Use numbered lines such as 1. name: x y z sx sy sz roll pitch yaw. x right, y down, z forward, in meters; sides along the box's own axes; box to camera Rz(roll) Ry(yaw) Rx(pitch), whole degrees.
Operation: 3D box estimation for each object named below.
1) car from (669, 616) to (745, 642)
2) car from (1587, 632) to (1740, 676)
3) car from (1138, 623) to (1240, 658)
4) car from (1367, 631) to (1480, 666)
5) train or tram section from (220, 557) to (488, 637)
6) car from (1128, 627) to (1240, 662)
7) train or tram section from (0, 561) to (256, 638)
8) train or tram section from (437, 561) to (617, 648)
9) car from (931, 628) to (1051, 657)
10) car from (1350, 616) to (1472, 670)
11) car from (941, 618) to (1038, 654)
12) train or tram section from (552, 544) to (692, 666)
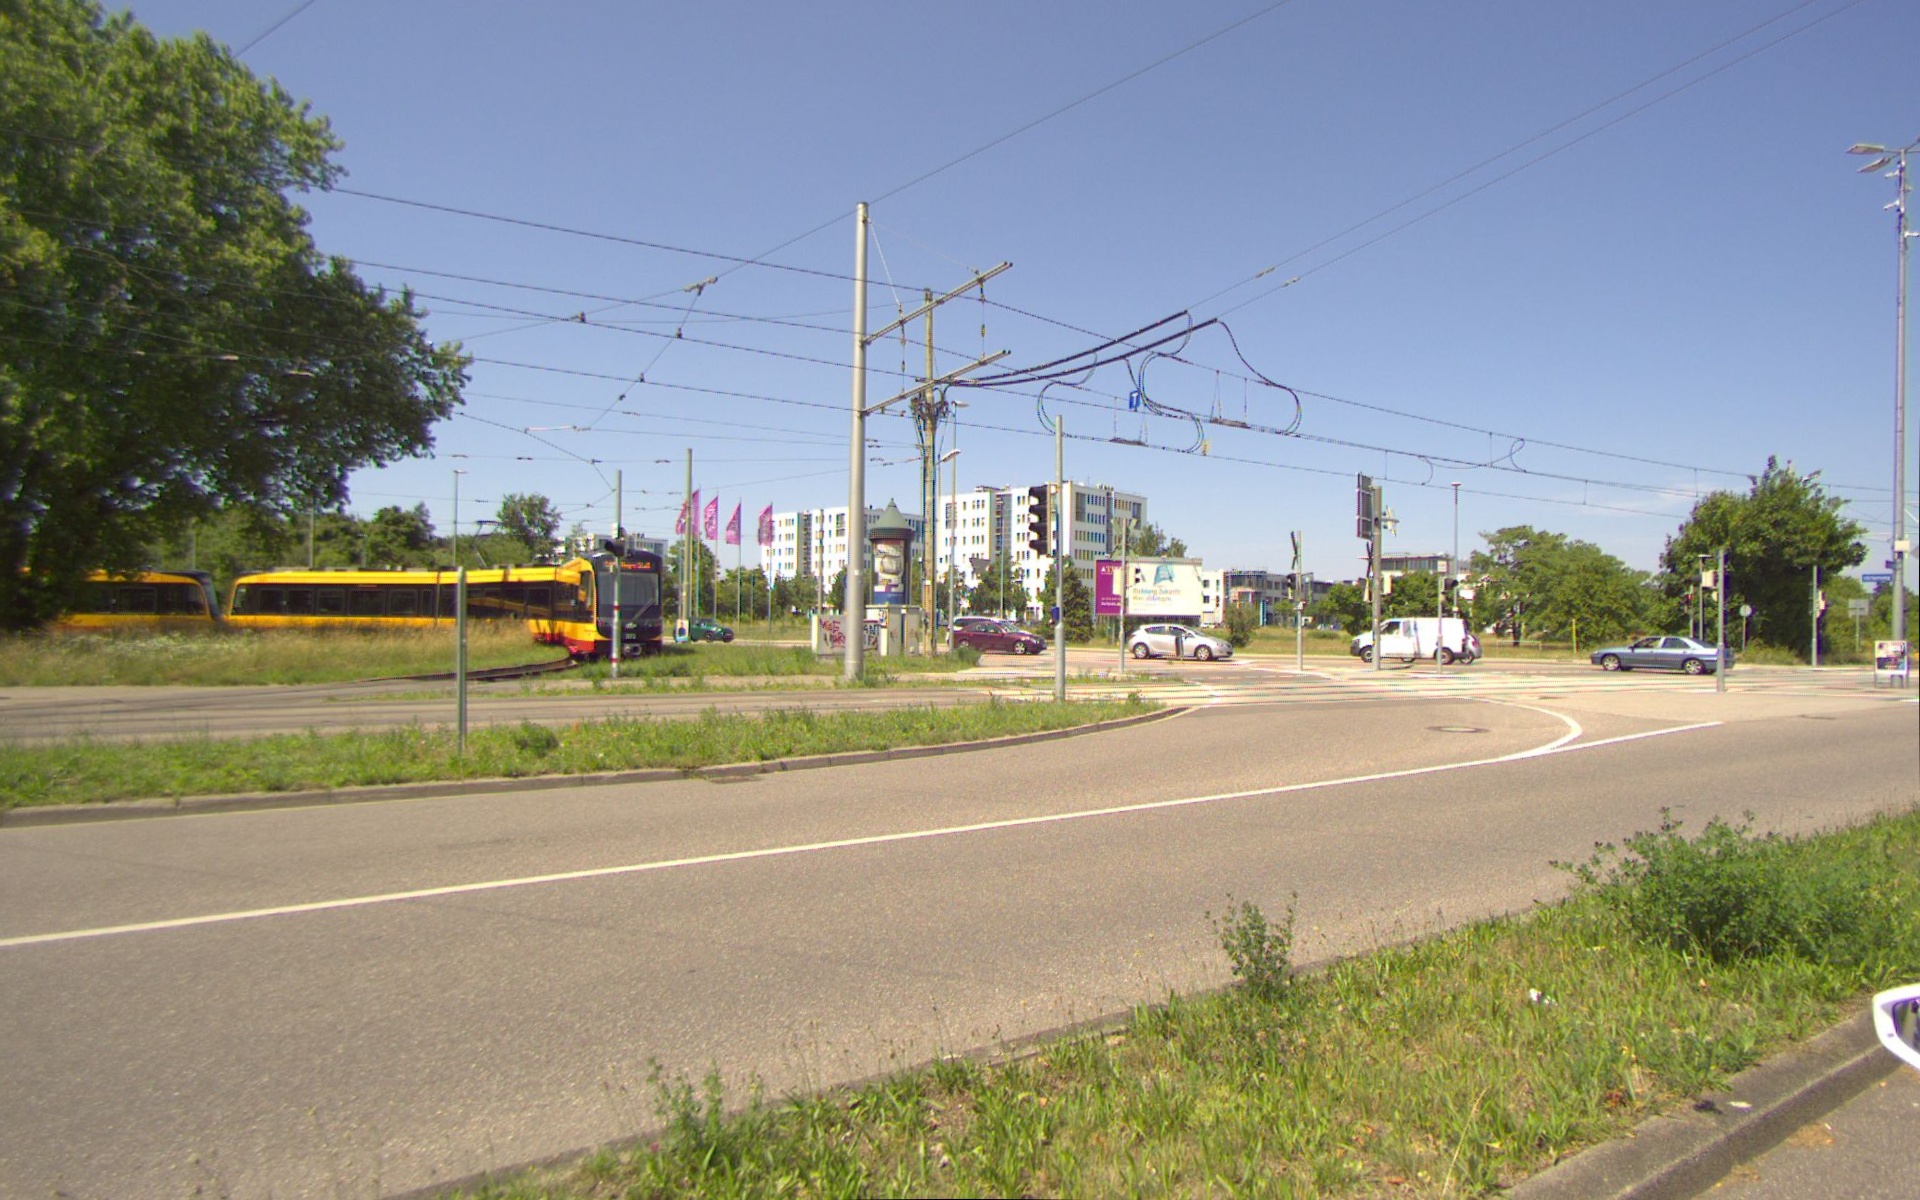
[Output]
1. car: -14.896 1.683 59.141 4.153 1.390 1.896 0 0 28
2. car: 26.419 1.981 37.863 1.879 1.390 4.387 0 0 -34
3. car: 10.367 1.787 45.510 4.203 1.431 1.896 0 0 29
4. car: 21.085 2.191 45.753 4.362 1.390 1.890 0 0 39
5. train or tram section: -29.799 -0.199 49.457 12.491 3.512 3.048 1 0 11
6. car: 9.344 1.824 41.992 4.203 1.311 1.997 0 0 29
7. train or tram section: -42.271 -0.017 48.967 12.575 3.512 3.028 1 0 -25
8. train or tram section: -19.456 0.082 44.703 10.066 3.512 3.033 2 1 39
9. car: 1.405 1.899 45.490 5.135 1.147 1.899 0 0 18
10. car: 19.562 1.820 43.603 4.664 2.139 1.996 0 0 31
11. car: 1.483 1.748 50.252 4.456 1.660 1.997 0 0 28
12. train or tram section: -12.323 0.081 35.560 3.006 3.512 13.203 1 0 -26
